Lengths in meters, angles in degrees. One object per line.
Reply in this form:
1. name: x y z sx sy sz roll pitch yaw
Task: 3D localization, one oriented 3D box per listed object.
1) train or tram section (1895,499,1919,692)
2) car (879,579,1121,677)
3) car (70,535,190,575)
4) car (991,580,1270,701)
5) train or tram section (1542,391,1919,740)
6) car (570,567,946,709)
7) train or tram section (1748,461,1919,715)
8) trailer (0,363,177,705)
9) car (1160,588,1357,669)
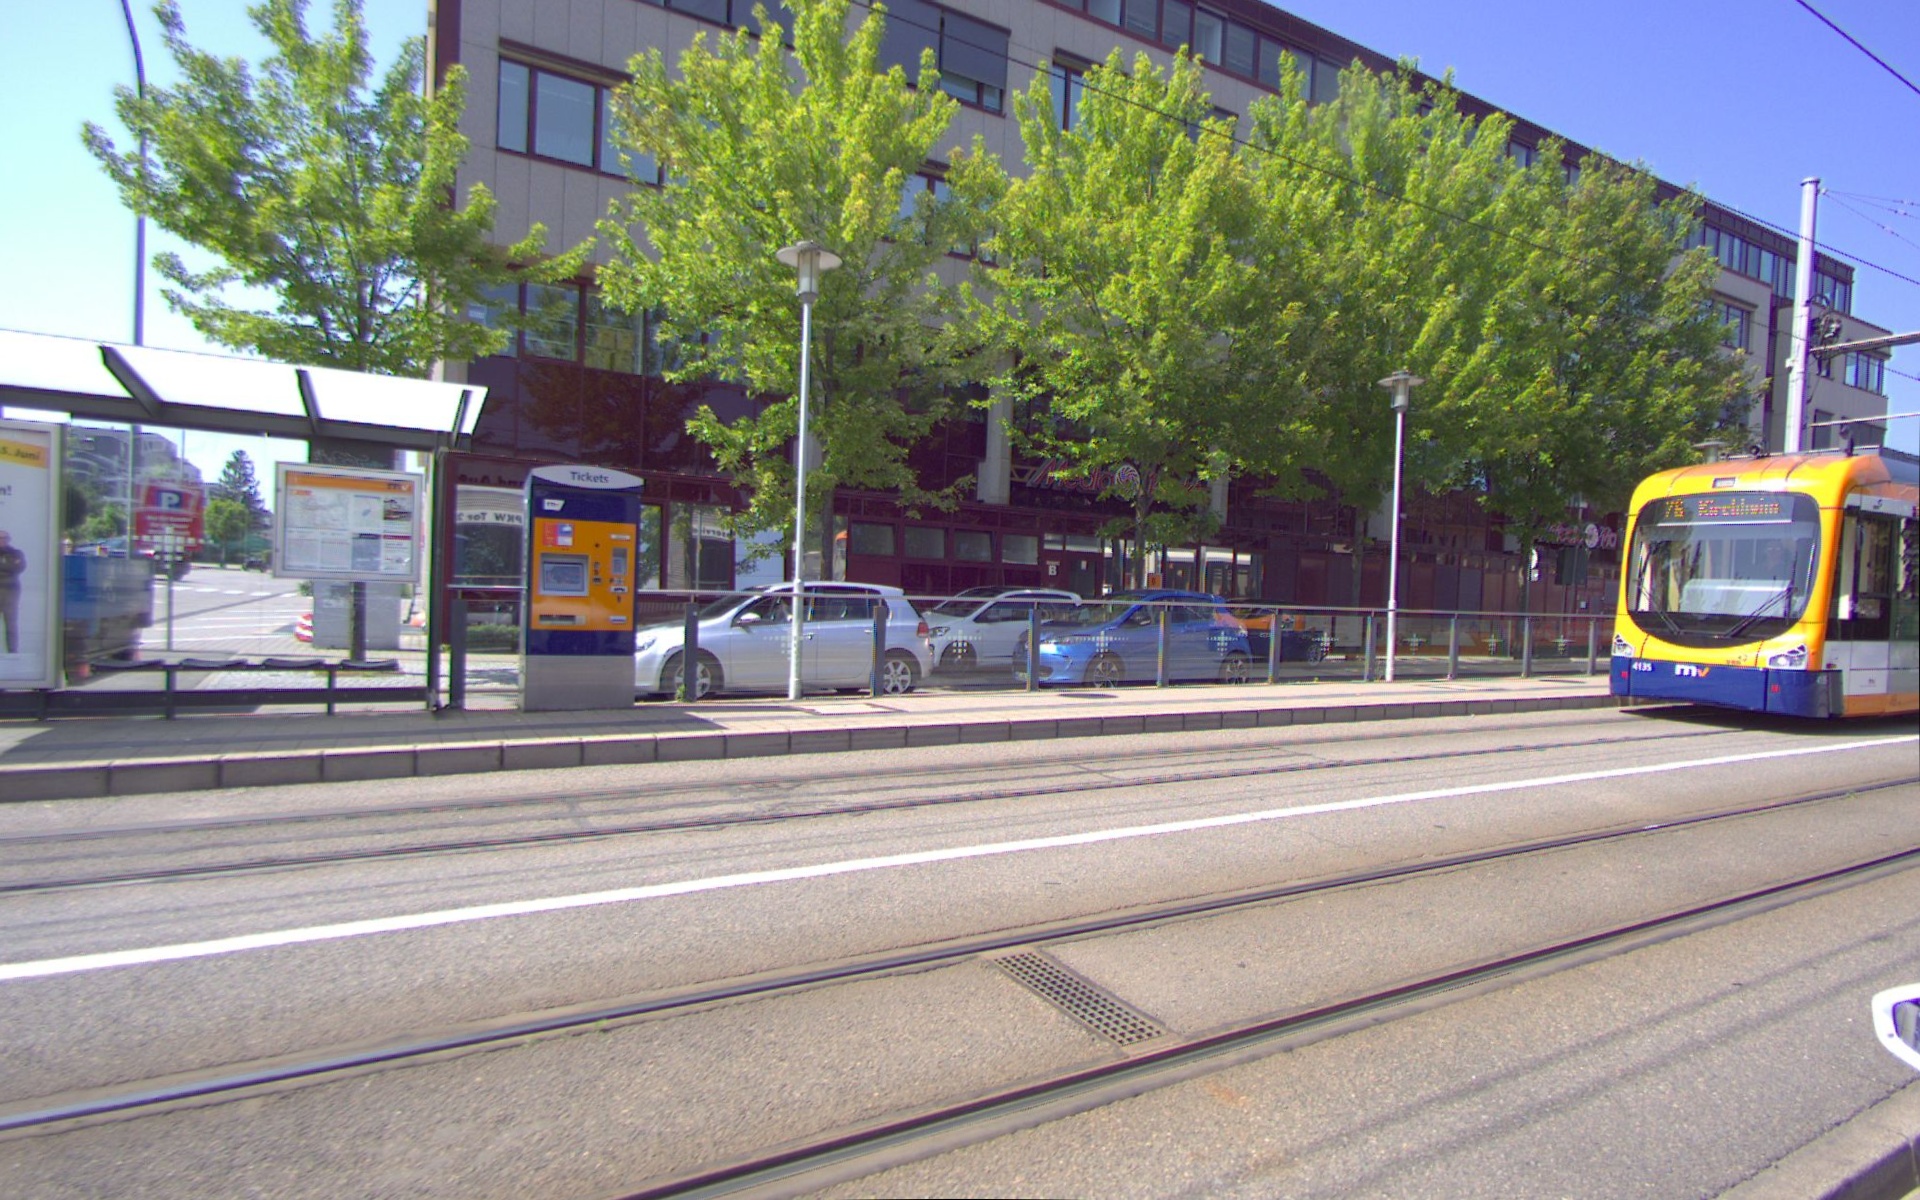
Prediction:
1. train or tram section: 20.009 -0.007 18.583 4.952 3.493 2.598 1 1 -31
2. car: 0.715 0.463 17.491 3.856 1.483 1.715 1 3 -29
3. car: -34.833 -1.873 42.192 4.154 1.471 1.723 3 1 14
4. car: 2.612 0.592 15.153 4.025 1.605 1.714 1 -1 -31
5. train or tram section: 10.434 -0.318 12.915 5.676 3.580 2.598 1 1 -31
6. car: -2.433 0.441 12.431 4.231 1.492 1.714 1 0 -31
7. train or tram section: 15.364 -0.116 15.863 5.775 3.493 2.598 1 1 -31
8. trailer: -10.767 -0.604 7.434 7.516 2.663 2.781 1 1 -32
9. car: 6.418 0.598 21.550 3.952 1.539 1.752 2 2 -29
